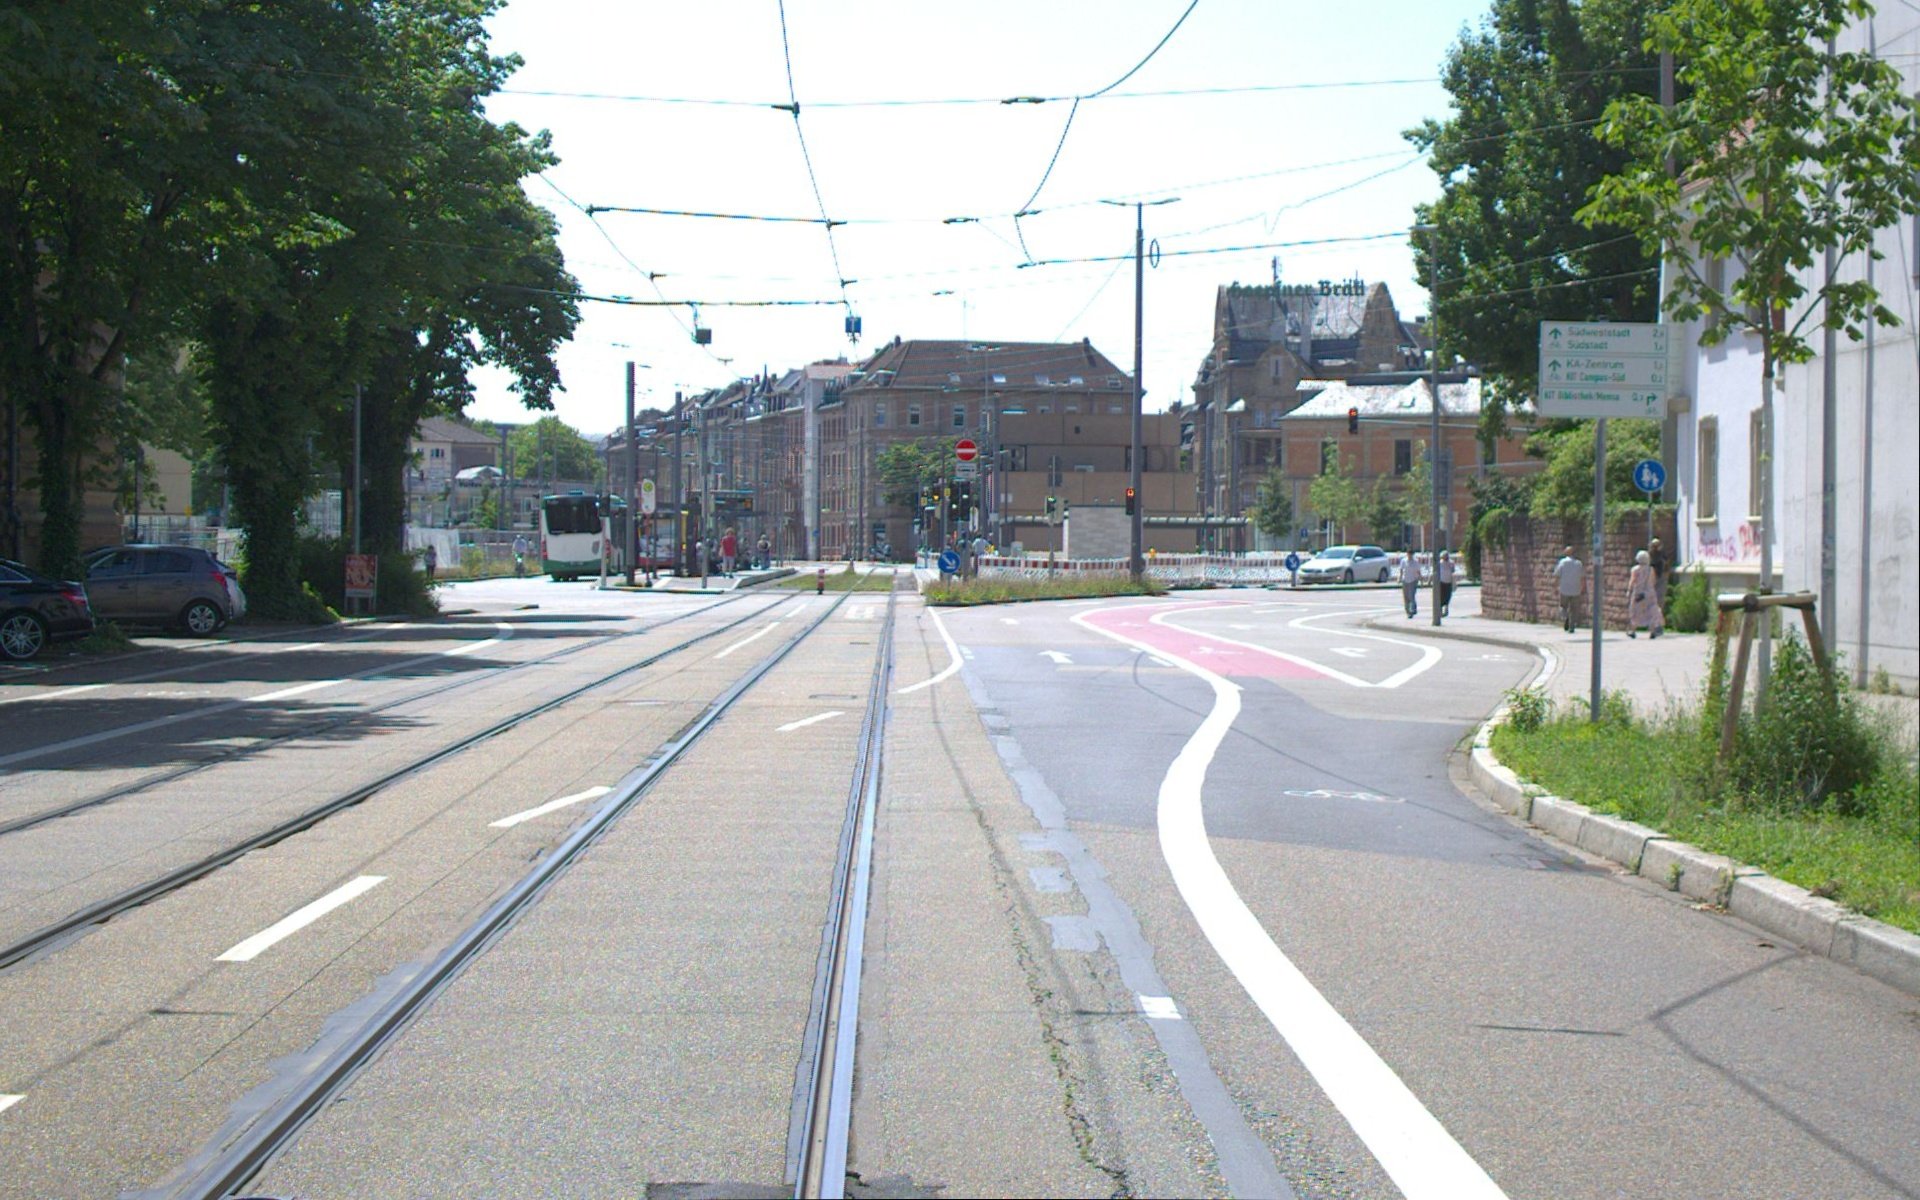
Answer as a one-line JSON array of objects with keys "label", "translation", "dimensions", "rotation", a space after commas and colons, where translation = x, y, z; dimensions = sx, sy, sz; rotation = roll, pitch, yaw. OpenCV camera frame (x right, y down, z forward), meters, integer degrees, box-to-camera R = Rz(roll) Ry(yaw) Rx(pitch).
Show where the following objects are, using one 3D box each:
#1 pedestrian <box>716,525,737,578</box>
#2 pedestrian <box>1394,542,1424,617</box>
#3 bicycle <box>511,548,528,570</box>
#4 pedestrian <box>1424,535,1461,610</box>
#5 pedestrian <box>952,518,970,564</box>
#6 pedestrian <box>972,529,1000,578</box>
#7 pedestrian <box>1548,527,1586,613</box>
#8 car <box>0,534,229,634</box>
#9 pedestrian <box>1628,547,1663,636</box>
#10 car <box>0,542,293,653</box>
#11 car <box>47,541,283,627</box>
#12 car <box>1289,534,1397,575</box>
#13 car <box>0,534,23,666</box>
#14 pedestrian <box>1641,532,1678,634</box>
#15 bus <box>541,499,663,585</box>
[{"label": "pedestrian", "translation": [-8.334, -1.729, 122.794], "dimensions": [0.672, 1.903, 0.641], "rotation": [0, 1, -10]}, {"label": "pedestrian", "translation": [10.887, -0.501, 83.324], "dimensions": [0.677, 1.801, 0.748], "rotation": [0, 1, 4]}, {"label": "bicycle", "translation": [-18.652, -1.740, 145.557], "dimensions": [0.503, 0.911, 2.371], "rotation": [0, 1, -2]}, {"label": "pedestrian", "translation": [11.668, -0.663, 83.137], "dimensions": [0.814, 1.801, 0.700], "rotation": [0, 1, 4]}, {"label": "pedestrian", "translation": [0.025, -2.131, 124.525], "dimensions": [0.526, 1.669, 0.752], "rotation": [1, 0, -8]}, {"label": "pedestrian", "translation": [0.988, -1.787, 132.270], "dimensions": [0.765, 1.858, 0.730], "rotation": [0, 0, -41]}, {"label": "pedestrian", "translation": [11.618, -0.579, 65.816], "dimensions": [0.661, 1.641, 0.624], "rotation": [0, 1, 5]}, {"label": "car", "translation": [-13.689, -0.260, 54.683], "dimensions": [3.664, 1.514, 1.669], "rotation": [1, 1, -29]}, {"label": "pedestrian", "translation": [11.788, -0.149, 59.143], "dimensions": [0.515, 1.527, 0.597], "rotation": [0, 1, 4]}, {"label": "car", "translation": [-10.916, -0.055, 45.165], "dimensions": [3.920, 1.369, 1.670], "rotation": [-1, 2, -26]}, {"label": "car", "translation": [-13.376, -0.278, 57.842], "dimensions": [3.537, 1.401, 1.702], "rotation": [0, 1, -29]}, {"label": "car", "translation": [13.874, -1.645, 124.328], "dimensions": [1.997, 1.433, 4.697], "rotation": [1, 1, 33]}, {"label": "car", "translation": [-13.280, 0.008, 40.872], "dimensions": [3.805, 1.571, 1.794], "rotation": [-1, 2, -30]}, {"label": "pedestrian", "translation": [12.219, -0.296, 60.045], "dimensions": [0.627, 1.767, 0.718], "rotation": [0, 0, 12]}, {"label": "bus", "translation": [-13.843, -2.276, 134.513], "dimensions": [3.010, 3.147, 17.499], "rotation": [0, 1, 0]}]
